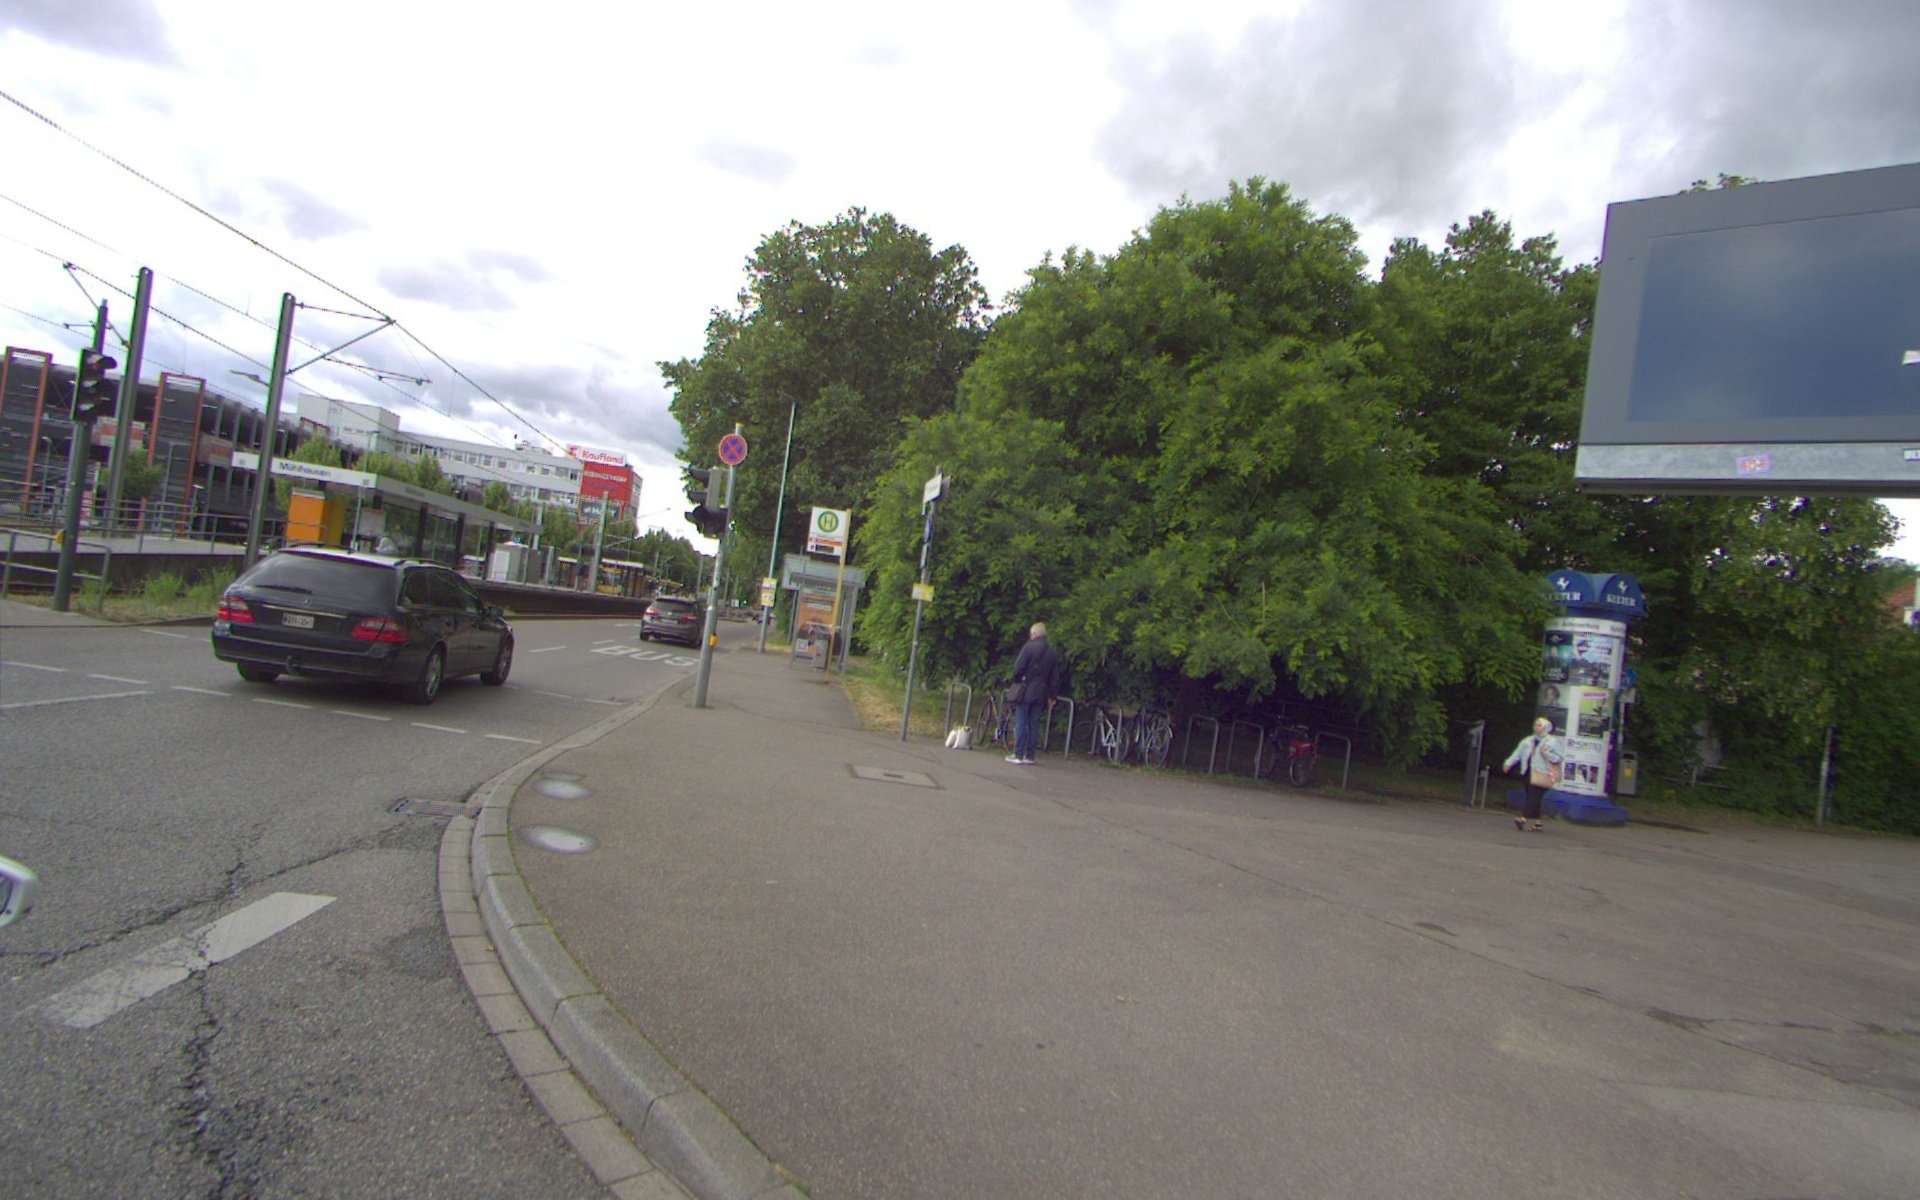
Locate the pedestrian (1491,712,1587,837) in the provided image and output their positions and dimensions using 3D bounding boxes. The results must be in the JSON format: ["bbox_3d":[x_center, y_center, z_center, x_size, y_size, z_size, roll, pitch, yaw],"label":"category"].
[{"bbox_3d":[7.920,2.374,13.766,0.745,1.531,0.669,8,-2,-18],"label":"pedestrian"}]

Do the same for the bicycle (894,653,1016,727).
[{"bbox_3d":[-0.092,1.469,16.526,1.841,0.935,0.544,8,0,-7],"label":"bicycle"}]

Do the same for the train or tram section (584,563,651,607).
[{"bbox_3d":[-37.044,-1.438,109.767,2.718,3.927,18.616,8,-2,-7],"label":"train or tram section"}]

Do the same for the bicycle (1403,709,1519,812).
[{"bbox_3d":[8.199,2.603,16.542,0.636,1.387,1.654,9,-2,-13],"label":"bicycle"}]

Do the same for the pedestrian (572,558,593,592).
[{"bbox_3d":[-21.092,-1.373,56.273,0.738,1.764,0.936,7,-2,-8],"label":"pedestrian"}]

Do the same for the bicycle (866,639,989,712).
[{"bbox_3d":[-0.572,1.340,17.889,2.006,0.950,0.592,9,-1,6],"label":"bicycle"}]

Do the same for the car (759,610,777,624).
[{"bbox_3d":[-25.154,2.226,132.108,1.800,1.547,4.414,8,-2,-7],"label":"car"}]

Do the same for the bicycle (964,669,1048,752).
[{"bbox_3d":[0.630,1.576,14.607,0.516,0.917,1.845,7,0,-18],"label":"bicycle"}]

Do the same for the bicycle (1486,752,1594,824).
[{"bbox_3d":[9.728,3.134,16.942,0.471,0.865,1.654,9,-2,-13],"label":"bicycle"}]

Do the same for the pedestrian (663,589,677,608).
[{"bbox_3d":[-28.341,-0.171,98.361,0.734,1.697,0.874,6,-2,35],"label":"pedestrian"}]

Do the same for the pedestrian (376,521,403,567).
[{"bbox_3d":[-21.947,-2.151,38.719,0.562,1.639,0.585,7,-1,-8],"label":"pedestrian"}]

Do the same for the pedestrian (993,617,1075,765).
[{"bbox_3d":[0.940,1.155,12.817,0.683,1.773,0.416,10,-2,-31],"label":"pedestrian"}]

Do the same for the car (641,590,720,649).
[{"bbox_3d":[-9.129,0.648,33.192,1.801,1.546,4.411,10,-2,-9],"label":"car"}]

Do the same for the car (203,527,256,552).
[{"bbox_3d":[-61.642,-5.077,84.957,1.752,1.556,3.997,7,-2,-8],"label":"car"}]

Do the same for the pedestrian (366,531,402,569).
[{"bbox_3d":[-20.983,-1.822,36.638,0.758,1.203,0.728,8,-2,-5],"label":"pedestrian"}]

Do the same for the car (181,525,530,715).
[{"bbox_3d":[-6.498,0.217,11.488,1.810,1.494,4.409,9,-2,-11],"label":"car"}]

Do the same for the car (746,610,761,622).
[{"bbox_3d":[-31.617,2.445,154.044,1.799,1.548,3.926,6,-2,-7],"label":"car"}]

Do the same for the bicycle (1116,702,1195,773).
[{"bbox_3d":[2.901,2.031,15.063,0.471,0.816,1.511,9,-2,-13],"label":"bicycle"}]

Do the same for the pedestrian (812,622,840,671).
[{"bbox_3d":[-3.469,1.198,26.080,0.593,1.171,0.546,7,-1,-8],"label":"pedestrian"}]

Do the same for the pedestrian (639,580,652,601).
[{"bbox_3d":[-27.120,-0.798,86.730,0.760,1.697,0.790,7,-1,-9],"label":"pedestrian"}]

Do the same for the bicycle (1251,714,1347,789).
[{"bbox_3d":[5.267,2.336,15.724,0.471,0.865,1.735,9,-2,-13],"label":"bicycle"}]

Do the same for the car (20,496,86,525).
[{"bbox_3d":[-65.542,-6.469,72.769,1.692,1.431,3.559,7,-2,-7],"label":"car"}]
